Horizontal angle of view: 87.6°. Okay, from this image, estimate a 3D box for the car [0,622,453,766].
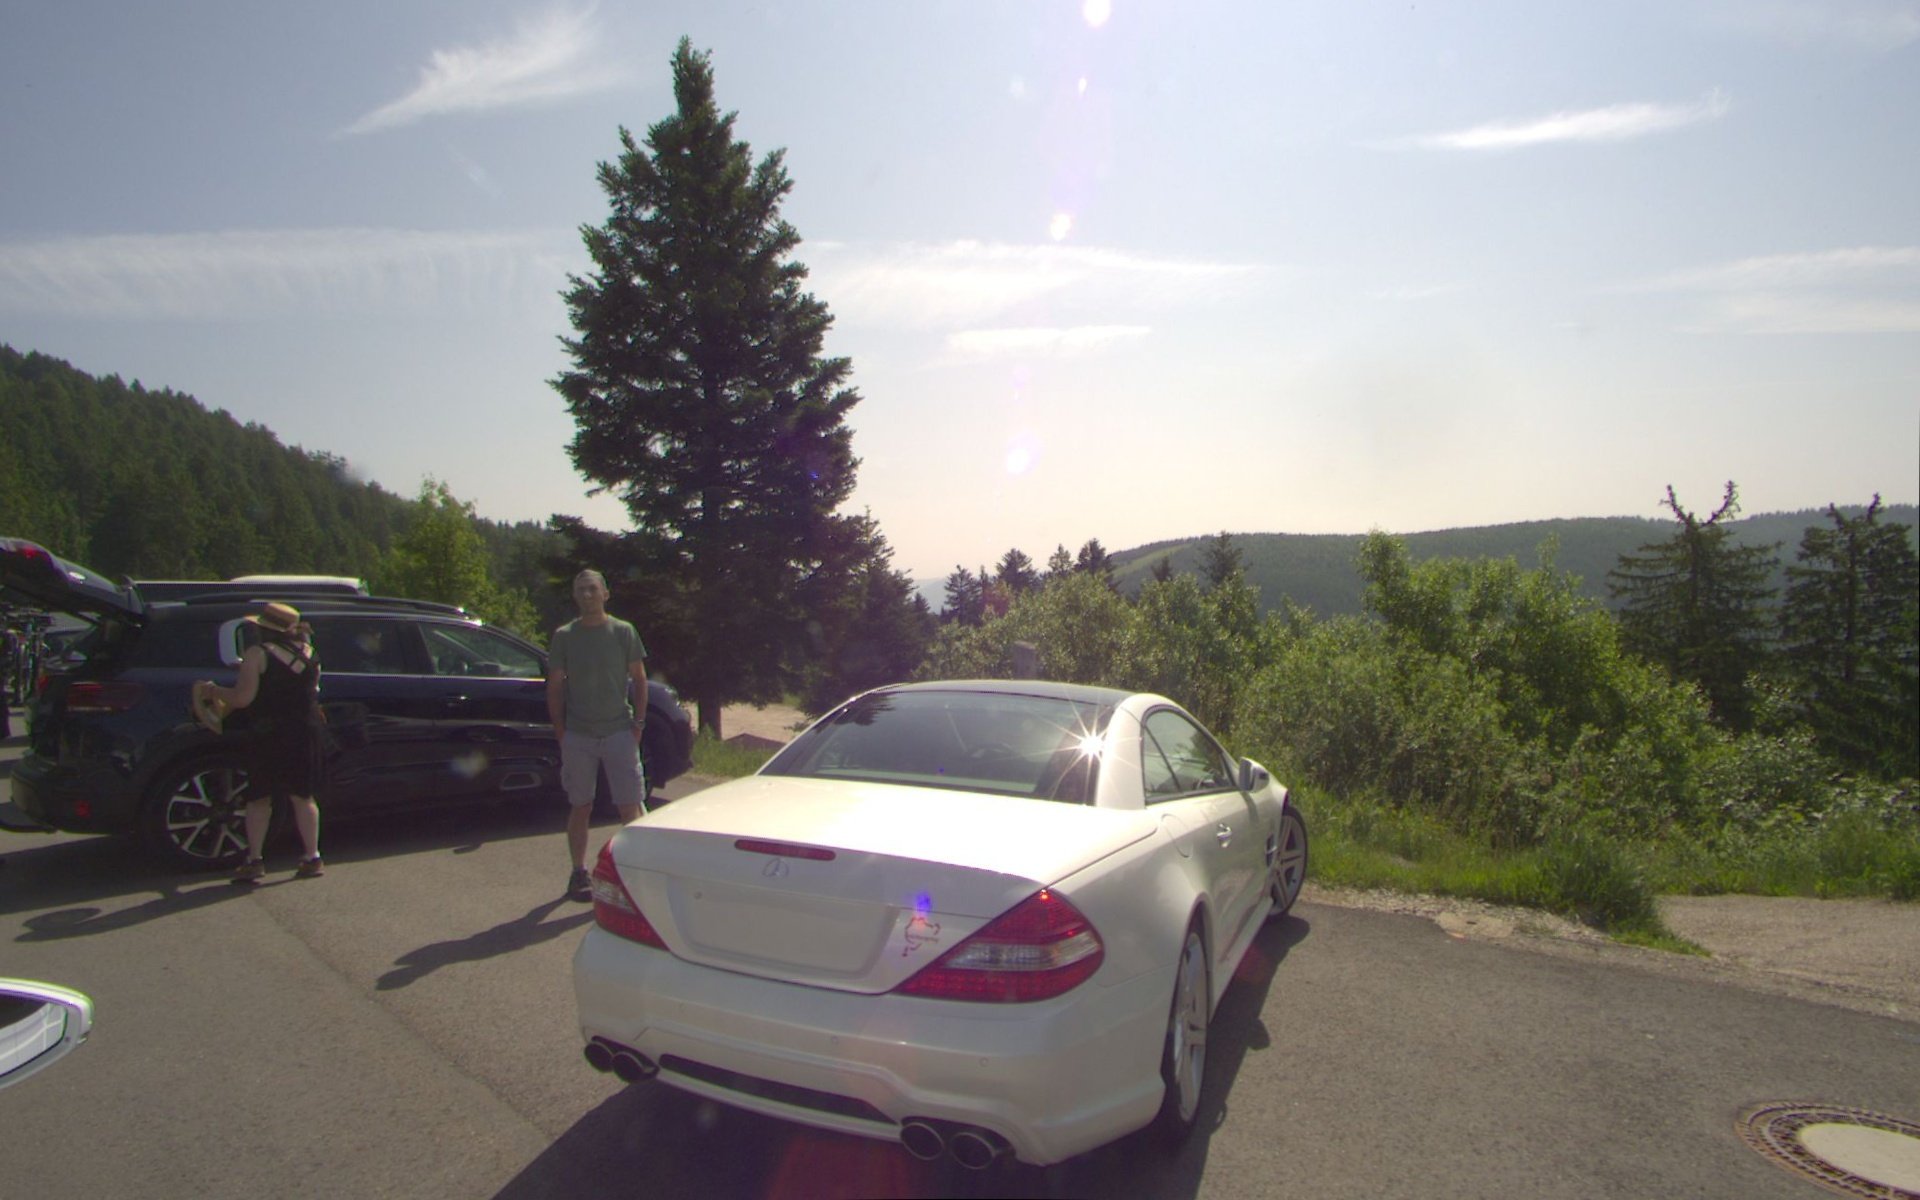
[{"bbox_3d":[-8.438,0.996,11.819,1.683,1.394,4.063,-1,-2,41],"label":"car"}]

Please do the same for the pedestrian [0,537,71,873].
[{"bbox_3d":[-5.787,0.581,5.746,0.724,1.896,0.757,2,1,-12],"label":"pedestrian"}]

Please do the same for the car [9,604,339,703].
[{"bbox_3d":[-15.635,0.971,20.172,4.997,1.673,2.029,-1,0,-43],"label":"car"}]

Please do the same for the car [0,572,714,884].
[{"bbox_3d":[-4.226,0.812,7.530,1.849,1.646,4.324,-2,-4,42],"label":"car"}]

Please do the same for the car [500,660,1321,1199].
[{"bbox_3d":[0.459,0.966,4.358,1.727,1.312,4.401,1,-2,25],"label":"car"}]

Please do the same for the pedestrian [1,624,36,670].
[{"bbox_3d":[-33.939,1.685,36.097,0.763,1.606,0.767,-2,1,-36],"label":"pedestrian"}]

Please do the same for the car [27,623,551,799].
[{"bbox_3d":[-6.470,0.965,10.073,1.681,1.394,4.067,-1,-2,38],"label":"car"}]

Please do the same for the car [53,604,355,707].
[{"bbox_3d":[-13.640,0.918,18.236,4.213,1.574,1.821,-1,0,-43],"label":"car"}]

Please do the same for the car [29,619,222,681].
[{"bbox_3d":[-22.920,1.316,27.614,3.958,1.468,1.844,-1,0,-43],"label":"car"}]

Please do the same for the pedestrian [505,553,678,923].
[{"bbox_3d":[-2.018,0.697,5.461,0.738,1.823,0.731,1,-2,-34],"label":"pedestrian"}]

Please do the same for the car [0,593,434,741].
[{"bbox_3d":[-10.239,0.791,13.877,4.910,1.718,1.928,-1,0,-41],"label":"car"}]

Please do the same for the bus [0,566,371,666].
[{"bbox_3d":[-31.225,0.517,40.176,12.955,3.579,3.025,-1,0,-33],"label":"bus"}]

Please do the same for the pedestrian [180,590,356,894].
[{"bbox_3d":[-4.026,0.781,5.843,0.530,1.633,0.711,-1,-2,37],"label":"pedestrian"}]
